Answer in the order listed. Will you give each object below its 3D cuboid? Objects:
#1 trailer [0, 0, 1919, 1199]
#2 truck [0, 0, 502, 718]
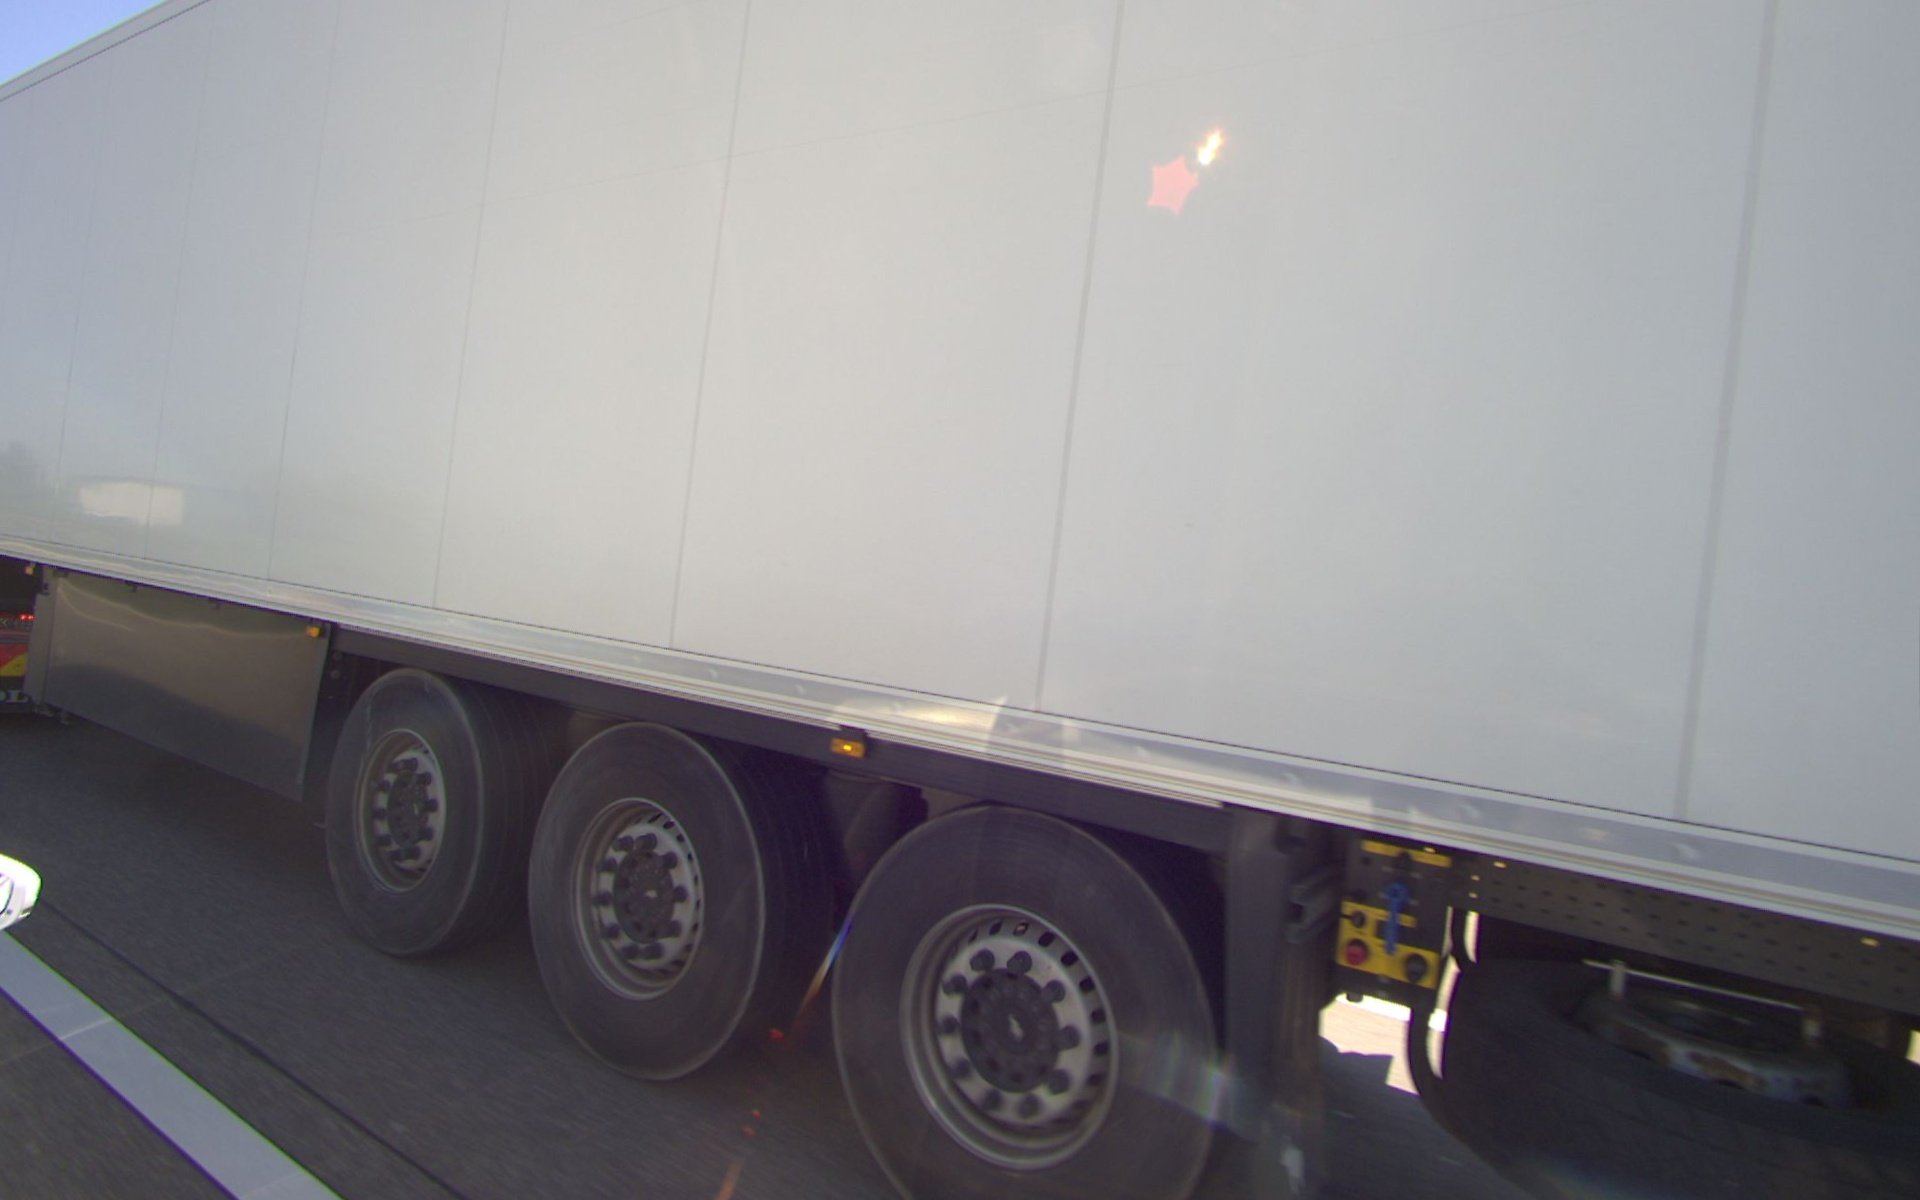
[{"bbox_3d":[-2.414,-0.985,5.674,13.401,4.396,3.224,7,-1,31],"label":"trailer"},{"bbox_3d":[-7.797,-1.664,8.985,6.480,4.396,3.224,7,-1,31],"label":"truck"}]
